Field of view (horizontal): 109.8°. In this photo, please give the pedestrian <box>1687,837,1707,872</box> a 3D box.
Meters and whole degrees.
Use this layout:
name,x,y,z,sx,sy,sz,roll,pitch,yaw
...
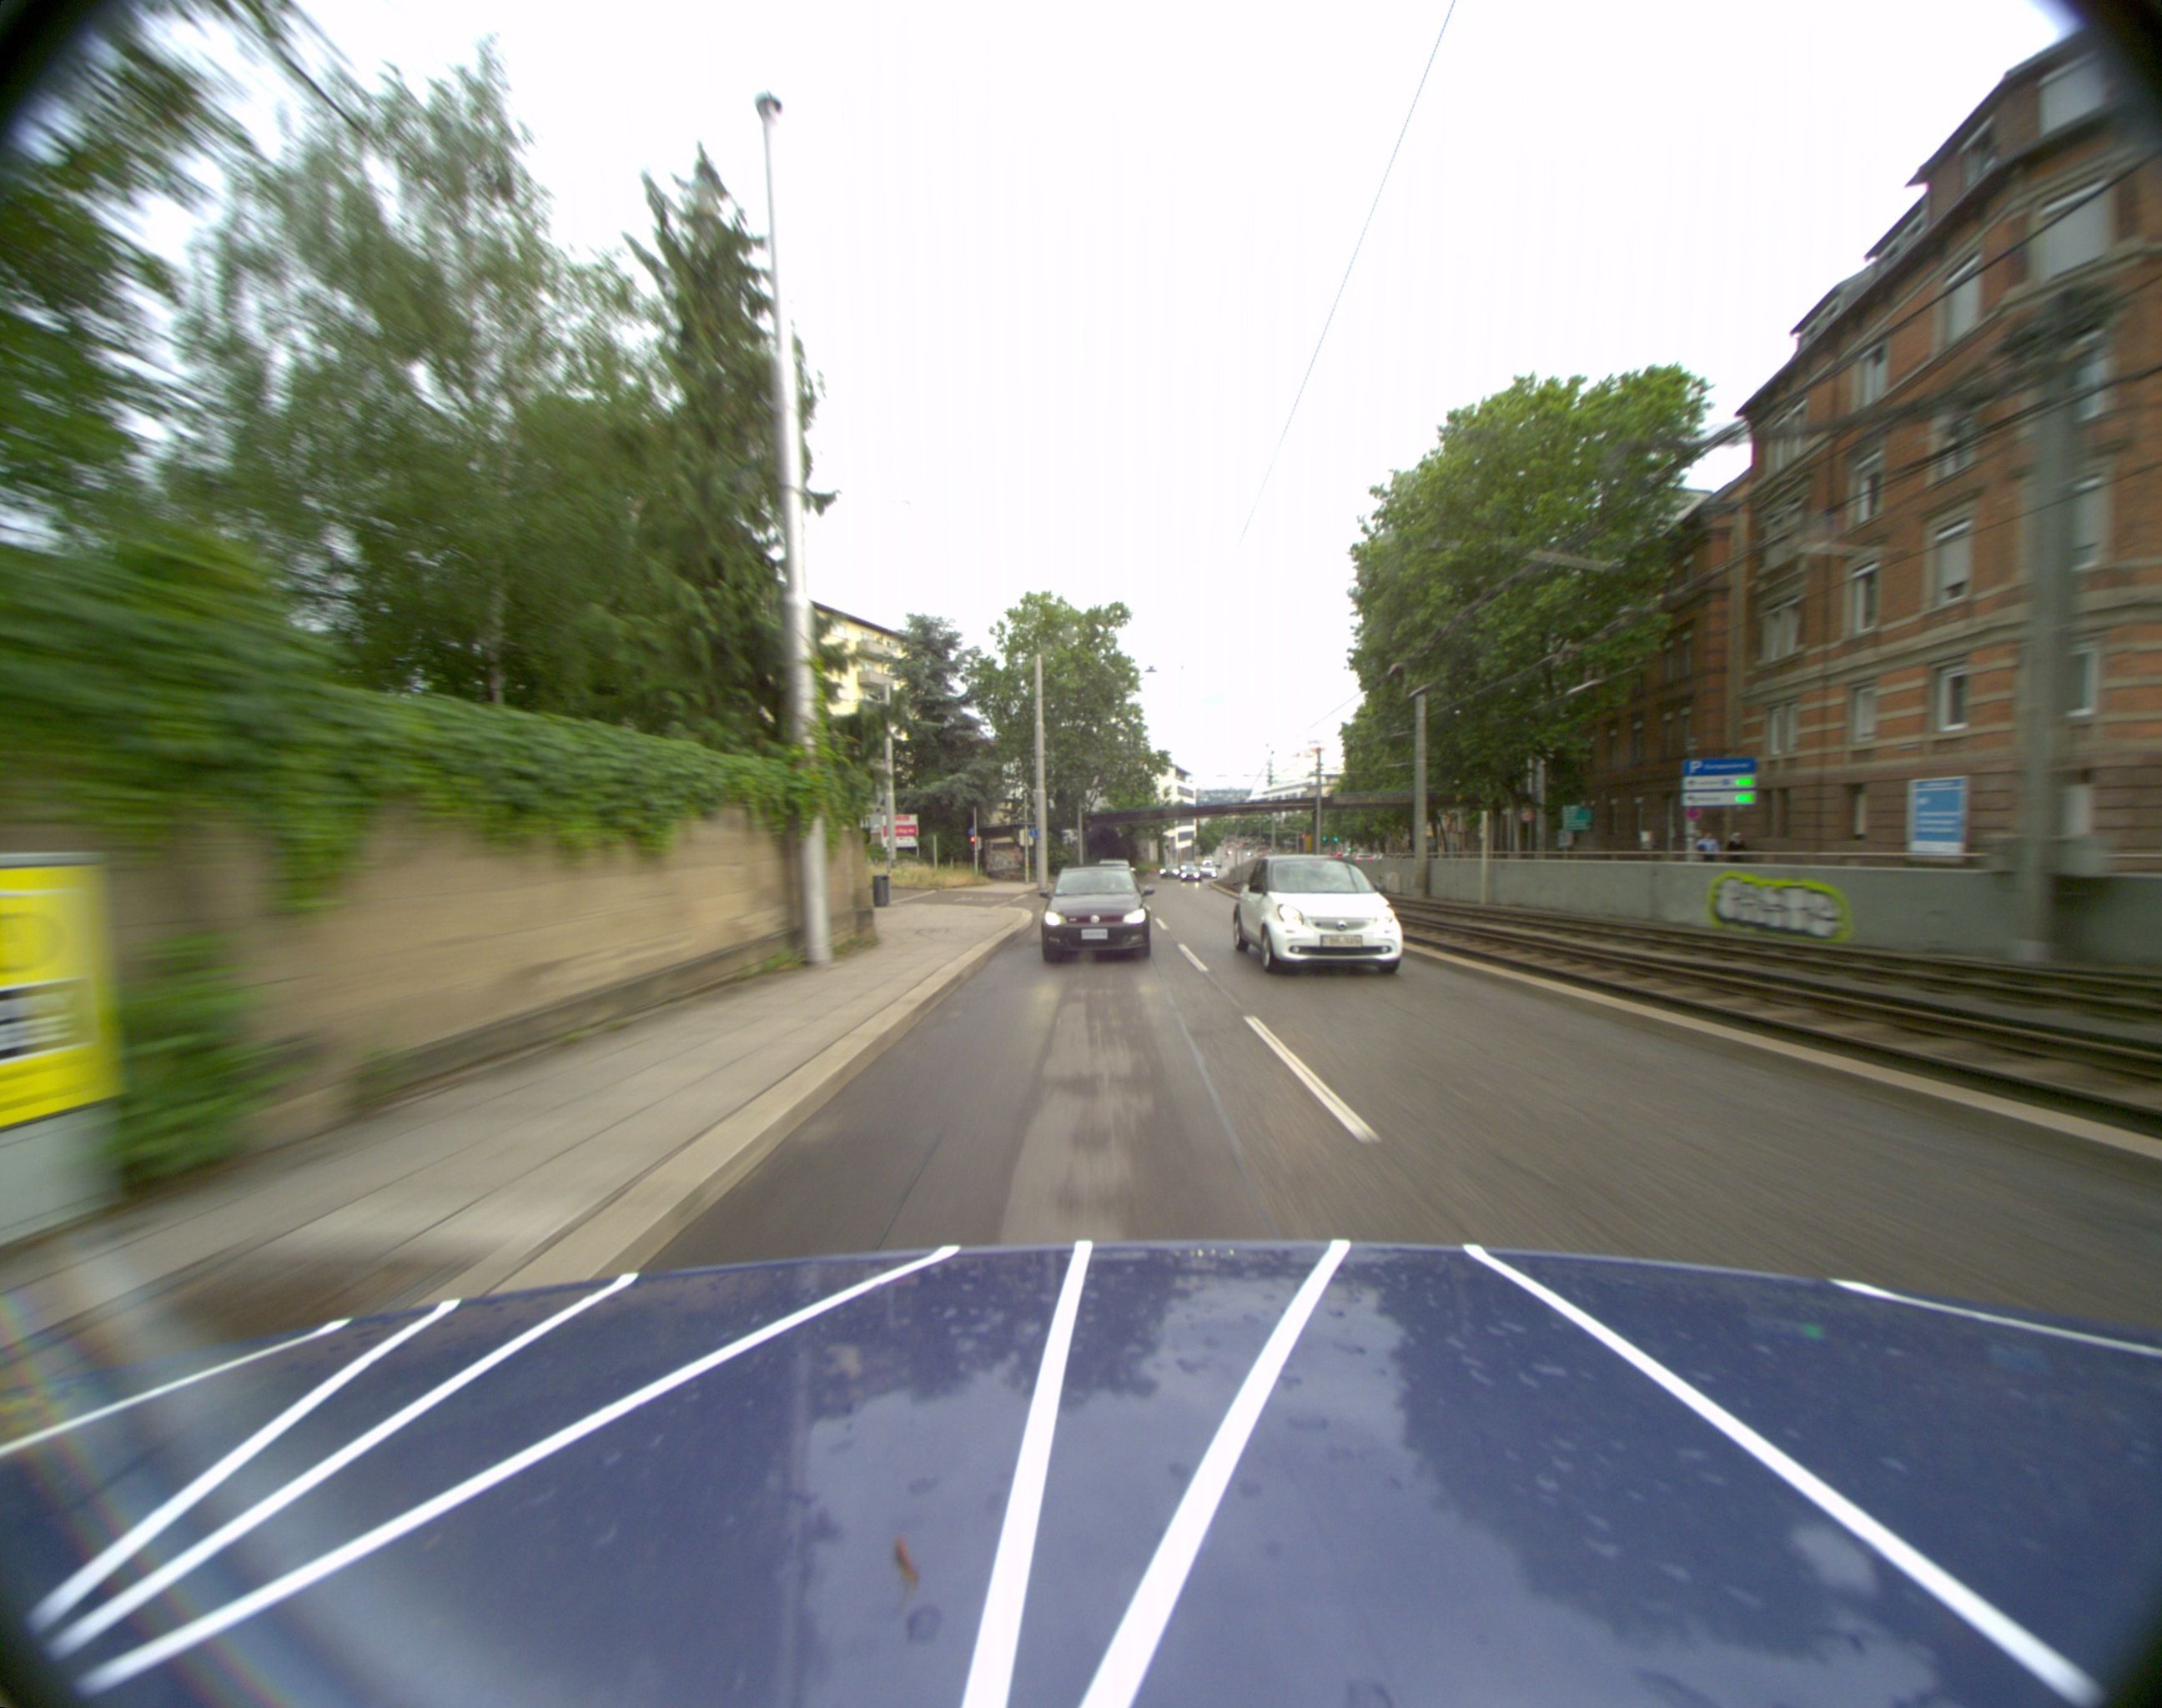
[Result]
name,x,y,z,sx,sy,sz,roll,pitch,yaw
pedestrian,23.566,0.028,29.073,0.335,1.326,0.504,1,0,8

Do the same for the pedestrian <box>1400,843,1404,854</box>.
name,x,y,z,sx,sy,sz,roll,pitch,yaw
pedestrian,54.302,-0.922,128.626,0.523,1.738,0.622,-4,0,24

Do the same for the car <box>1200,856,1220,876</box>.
name,x,y,z,sx,sy,sz,roll,pitch,yaw
car,14.312,1.342,83.963,1.797,2.021,4.004,-3,1,14

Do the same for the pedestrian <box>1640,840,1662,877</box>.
name,x,y,z,sx,sy,sz,roll,pitch,yaw
pedestrian,25.188,0.200,33.601,0.593,1.615,0.724,1,0,22

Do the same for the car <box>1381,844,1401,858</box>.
name,x,y,z,sx,sy,sz,roll,pitch,yaw
car,37.962,-0.339,93.221,1.796,1.602,4.364,-2,0,17

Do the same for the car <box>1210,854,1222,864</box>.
name,x,y,z,sx,sy,sz,roll,pitch,yaw
car,22.964,0.830,128.820,1.797,1.602,4.363,-2,0,11

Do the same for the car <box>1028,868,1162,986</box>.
name,x,y,z,sx,sy,sz,roll,pitch,yaw
car,0.307,0.972,11.600,1.677,1.391,3.850,-1,0,4

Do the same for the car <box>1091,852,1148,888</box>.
name,x,y,z,sx,sy,sz,roll,pitch,yaw
car,1.813,0.696,34.741,1.749,1.433,3.710,-3,1,16

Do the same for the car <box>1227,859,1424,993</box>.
name,x,y,z,sx,sy,sz,roll,pitch,yaw
car,3.270,0.859,10.993,1.798,1.528,4.001,0,0,4

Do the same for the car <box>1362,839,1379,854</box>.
name,x,y,z,sx,sy,sz,roll,pitch,yaw
car,55.004,-1.449,144.302,2.456,2.646,6.940,-2,0,17

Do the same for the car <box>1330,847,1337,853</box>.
name,x,y,z,sx,sy,sz,roll,pitch,yaw
car,71.078,-1.114,213.904,1.959,1.841,4.974,-2,0,17

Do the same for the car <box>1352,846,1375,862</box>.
name,x,y,z,sx,sy,sz,roll,pitch,yaw
car,30.313,0.043,81.624,1.797,1.602,4.364,-2,0,15

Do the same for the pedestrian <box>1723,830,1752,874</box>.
name,x,y,z,sx,sy,sz,roll,pitch,yaw
pedestrian,24.750,-0.081,28.665,0.593,1.615,0.724,1,0,22

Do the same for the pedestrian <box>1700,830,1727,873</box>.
name,x,y,z,sx,sy,sz,roll,pitch,yaw
pedestrian,24.147,-0.100,29.022,0.593,1.615,0.724,1,0,22

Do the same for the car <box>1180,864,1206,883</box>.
name,x,y,z,sx,sy,sz,roll,pitch,yaw
car,10.087,1.742,68.075,1.797,1.501,4.004,-3,1,14

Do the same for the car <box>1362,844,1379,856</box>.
name,x,y,z,sx,sy,sz,roll,pitch,yaw
car,40.279,-0.570,105.858,1.796,1.602,4.364,-2,0,16

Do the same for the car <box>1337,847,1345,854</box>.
name,x,y,z,sx,sy,sz,roll,pitch,yaw
car,63.870,-0.852,186.798,1.796,1.501,4.113,-2,0,16

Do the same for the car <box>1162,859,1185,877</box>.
name,x,y,z,sx,sy,sz,roll,pitch,yaw
car,9.629,1.401,79.030,1.797,1.656,4.004,-3,1,14

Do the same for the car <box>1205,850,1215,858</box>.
name,x,y,z,sx,sy,sz,roll,pitch,yaw
car,26.462,0.051,155.777,1.797,1.501,4.004,-3,1,14
